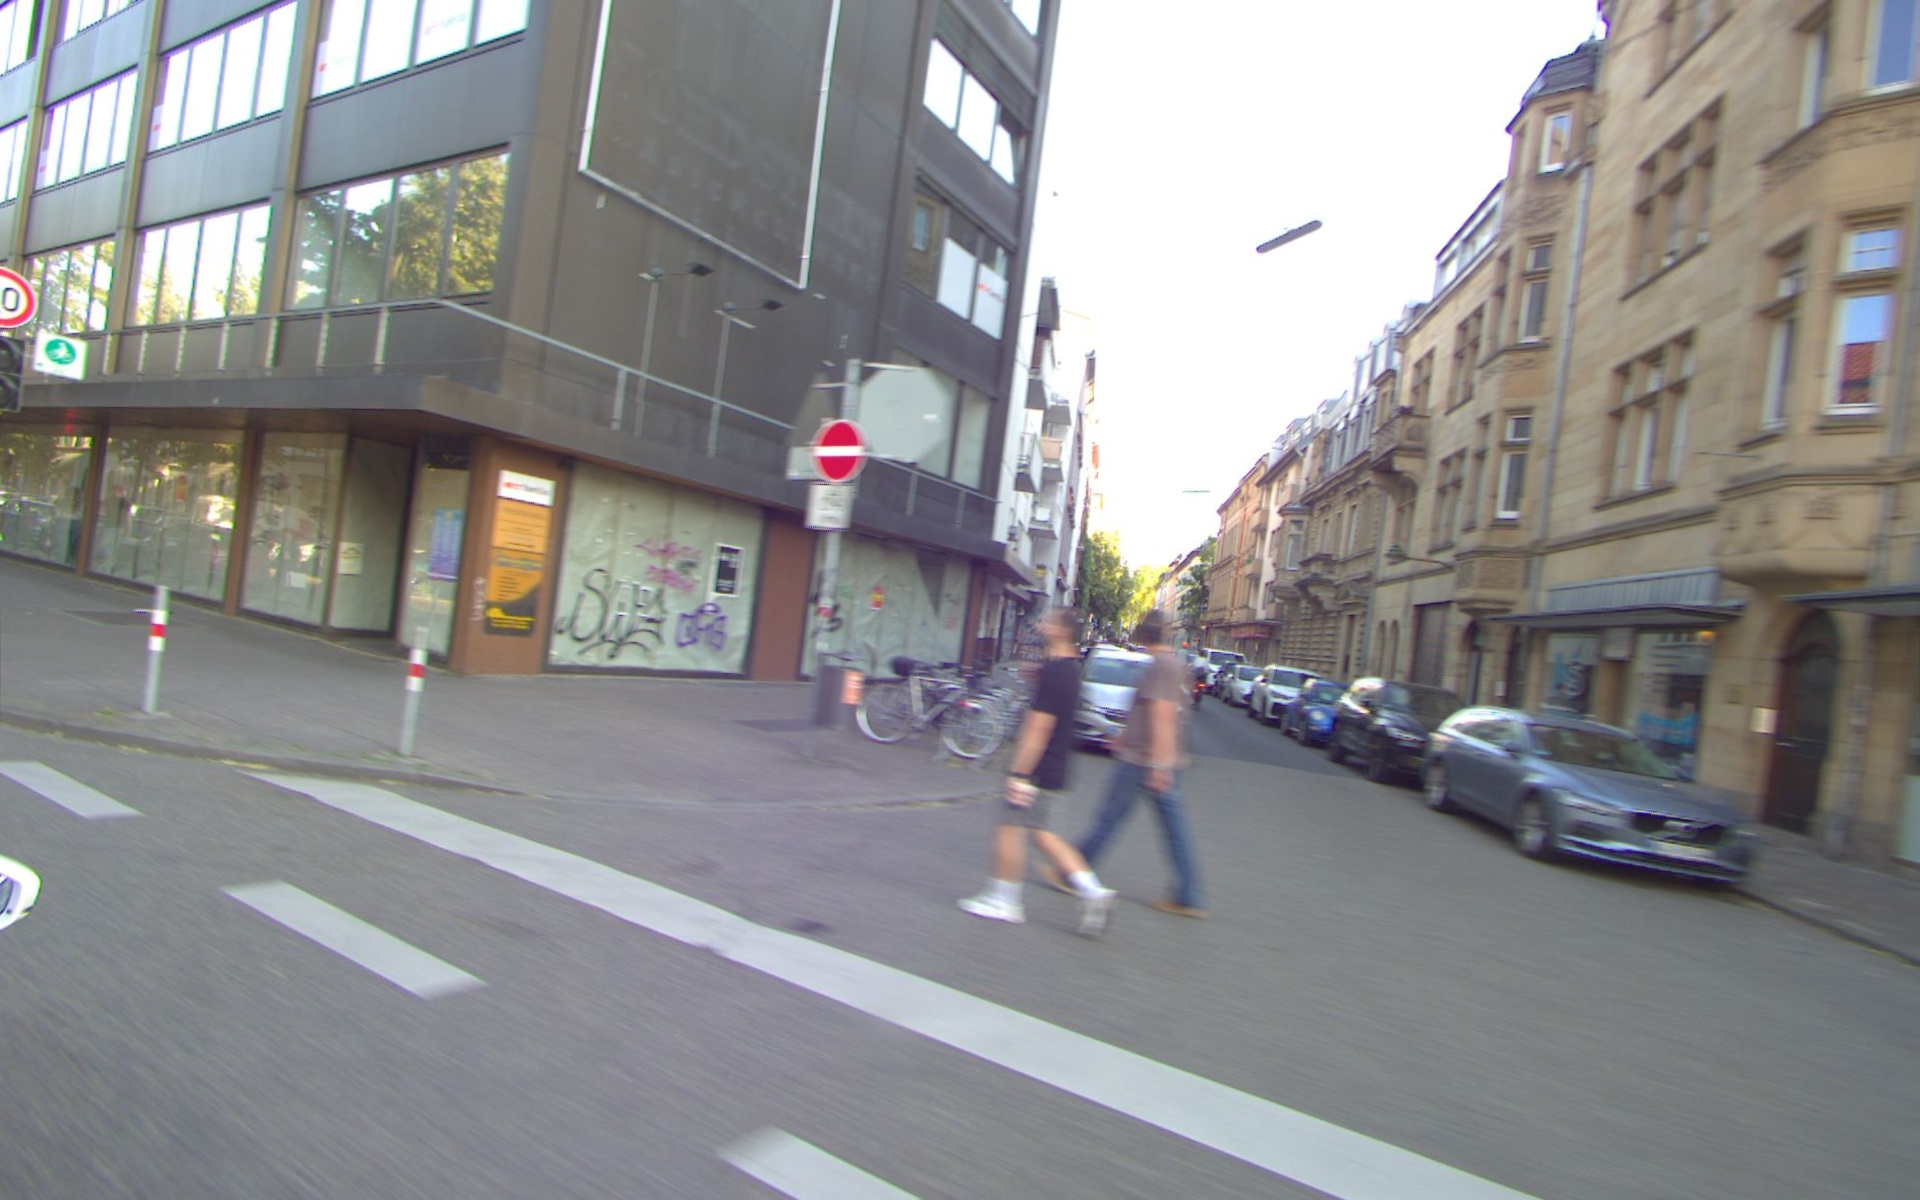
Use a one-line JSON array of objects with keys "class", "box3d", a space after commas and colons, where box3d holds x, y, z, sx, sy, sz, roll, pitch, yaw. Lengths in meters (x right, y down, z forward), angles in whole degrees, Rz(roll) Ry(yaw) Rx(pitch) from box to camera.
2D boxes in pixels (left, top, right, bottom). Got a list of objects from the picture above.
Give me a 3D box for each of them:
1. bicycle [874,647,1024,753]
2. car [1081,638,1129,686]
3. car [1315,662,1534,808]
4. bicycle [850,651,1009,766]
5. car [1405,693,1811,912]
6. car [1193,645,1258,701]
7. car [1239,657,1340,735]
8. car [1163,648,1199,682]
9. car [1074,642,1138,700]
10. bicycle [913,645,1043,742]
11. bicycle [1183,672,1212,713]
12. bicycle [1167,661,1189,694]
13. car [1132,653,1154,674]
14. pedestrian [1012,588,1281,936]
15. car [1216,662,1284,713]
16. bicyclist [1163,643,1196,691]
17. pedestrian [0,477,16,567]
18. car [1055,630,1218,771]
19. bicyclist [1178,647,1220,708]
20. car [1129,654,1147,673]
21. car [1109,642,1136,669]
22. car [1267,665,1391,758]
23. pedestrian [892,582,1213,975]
[{"class": "bicycle", "box3d": [-0.131, 1.258, 12.784, 1.742, 1.051, 0.415, 9, 1, 5]}, {"class": "car", "box3d": [5.902, 2.520, 40.707, 1.593, 1.633, 3.492, 8, -2, 10]}, {"class": "car", "box3d": [7.586, 2.111, 16.979, 1.906, 1.832, 4.431, 8, -2, 8]}, {"class": "bicycle", "box3d": [-0.353, 1.232, 11.665, 1.658, 1.043, 0.416, 8, 0, 14]}, {"class": "car", "box3d": [6.888, 2.037, 11.450, 1.892, 1.505, 4.694, 8, -2, 8]}, {"class": "car", "box3d": [11.587, 3.181, 44.221, 1.962, 2.036, 4.834, 8, -2, 8]}, {"class": "car", "box3d": [9.147, 2.612, 28.267, 1.768, 1.751, 4.005, 8, -2, 8]}, {"class": "car", "box3d": [12.227, 3.576, 55.747, 1.580, 1.583, 3.576, 8, -2, 10]}, {"class": "car", "box3d": [4.757, 2.249, 32.420, 1.746, 1.514, 3.836, 8, -1, 10]}, {"class": "bicycle", "box3d": [0.263, 1.315, 14.302, 1.658, 1.106, 0.416, 8, -1, 11]}, {"class": "bicycle", "box3d": [7.029, 2.721, 29.878, 0.500, 1.064, 2.237, 8, -2, 8]}, {"class": "bicycle", "box3d": [8.311, 2.941, 38.400, 0.500, 1.138, 2.237, 8, -2, 9]}, {"class": "car", "box3d": [15.718, 5.450, 86.140, 1.581, 1.579, 3.268, 8, -2, 12]}, {"class": "pedestrian", "box3d": [1.138, 0.922, 6.133, 1.202, 1.787, 0.756, 8, -1, 31]}, {"class": "car", "box3d": [10.317, 3.093, 36.008, 1.626, 1.460, 3.781, 8, -2, 8]}, {"class": "bicyclist", "box3d": [8.373, 2.540, 38.415, 0.934, 1.682, 0.739, 8, -1, 8]}, {"class": "pedestrian", "box3d": [-18.895, -1.559, 19.344, 0.773, 1.710, 0.766, 8, 1, 30]}, {"class": "car", "box3d": [2.625, 1.455, 15.586, 1.962, 1.599, 4.257, 8, -2, 8]}, {"class": "bicyclist", "box3d": [7.045, 2.275, 29.681, 0.934, 1.648, 0.739, 8, -1, 9]}, {"class": "car", "box3d": [16.232, 5.768, 91.914, 1.444, 1.503, 3.100, 8, -2, 10]}, {"class": "car", "box3d": [11.927, 4.080, 73.938, 1.697, 1.705, 3.665, 8, -2, 10]}, {"class": "car", "box3d": [8.312, 2.461, 23.003, 1.598, 1.668, 4.005, 8, -2, 8]}, {"class": "pedestrian", "box3d": [0.479, 0.841, 5.196, 1.238, 1.659, 0.756, 8, -1, 31]}]
